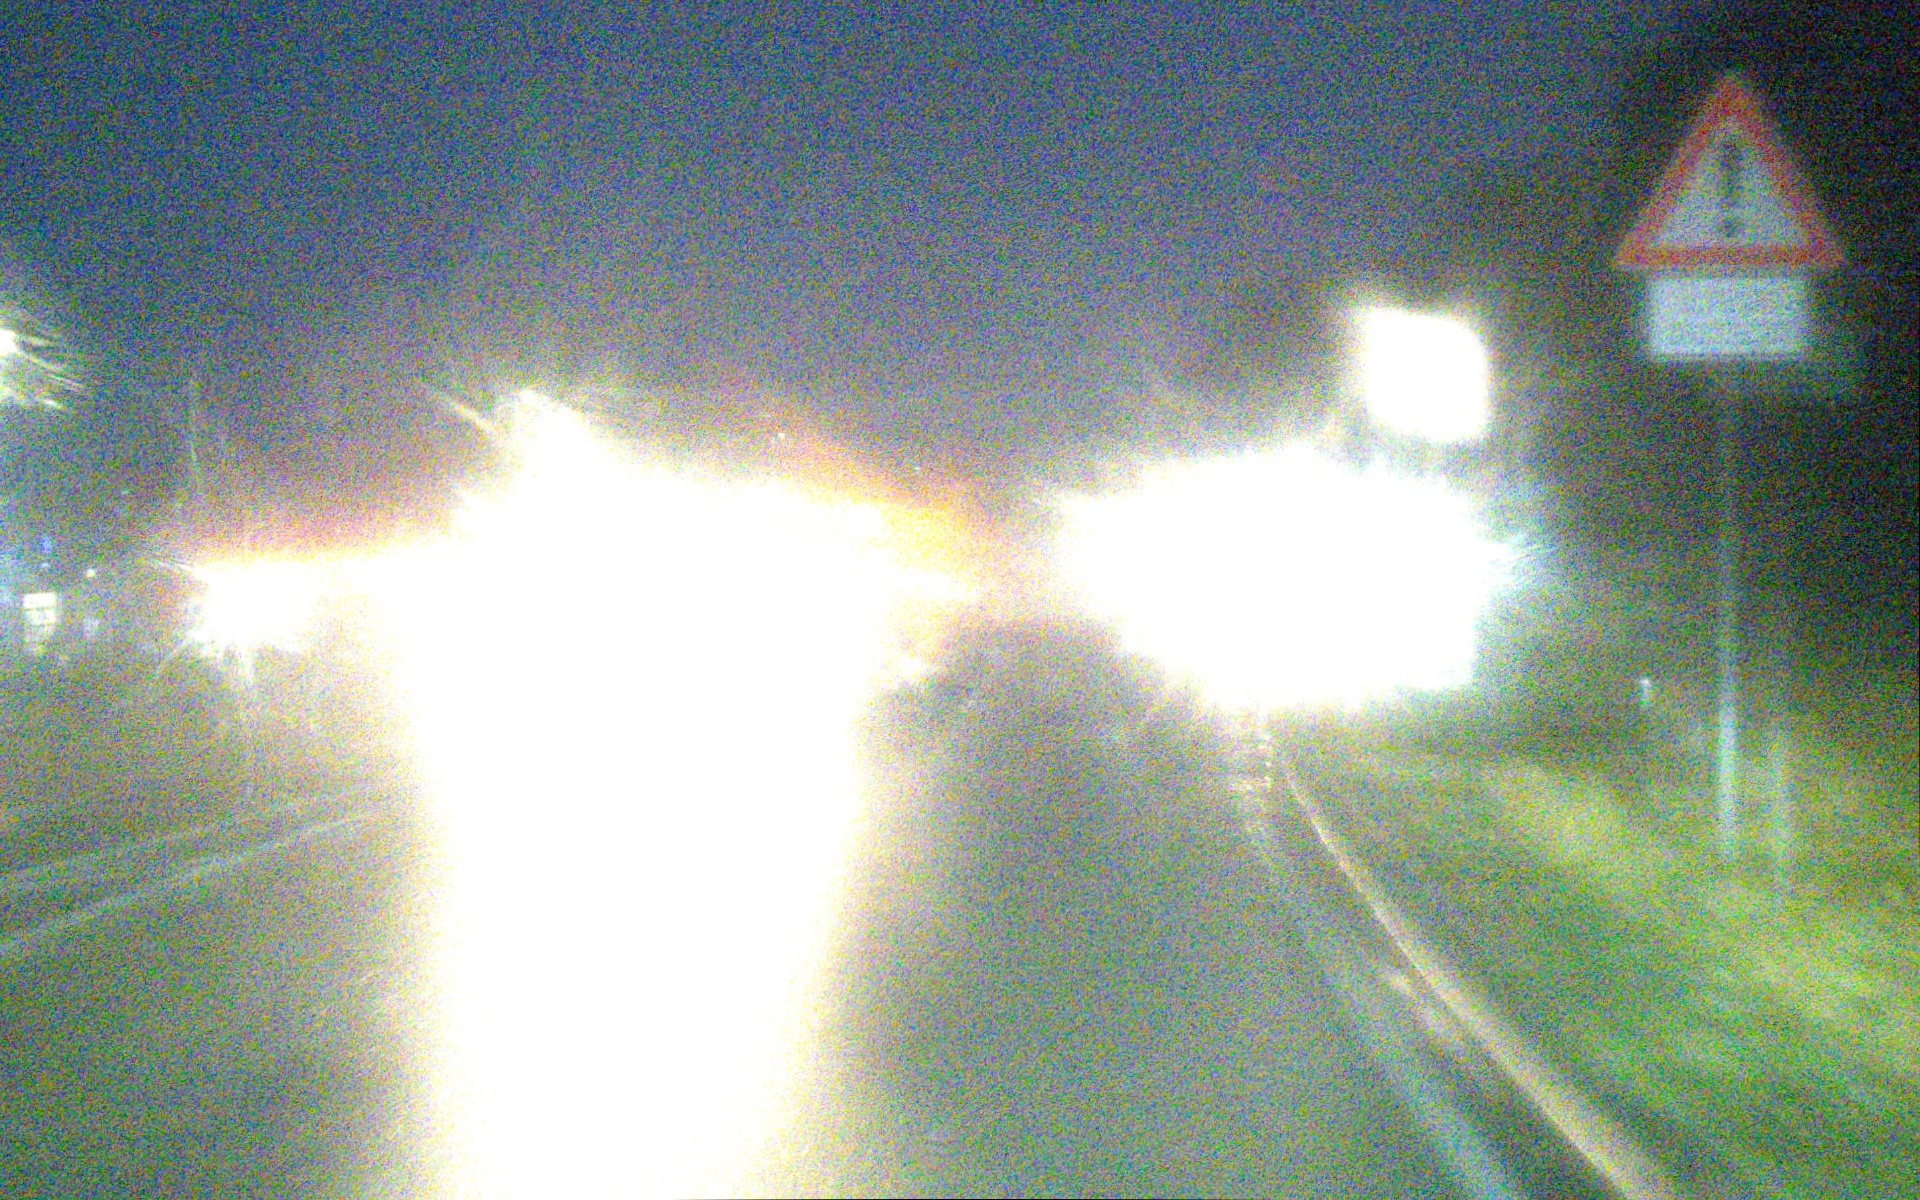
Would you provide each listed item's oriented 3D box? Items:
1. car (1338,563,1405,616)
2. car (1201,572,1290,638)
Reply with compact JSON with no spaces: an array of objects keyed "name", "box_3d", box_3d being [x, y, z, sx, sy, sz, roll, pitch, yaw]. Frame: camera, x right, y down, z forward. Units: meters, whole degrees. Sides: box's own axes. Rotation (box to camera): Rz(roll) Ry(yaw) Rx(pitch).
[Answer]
[{"name":"car","box_3d":[12.935,-0.322,108.012,1.994,1.596,3.998,0,-1,8]},{"name":"car","box_3d":[7.227,0.146,86.657,1.994,1.596,3.998,0,-1,8]}]
